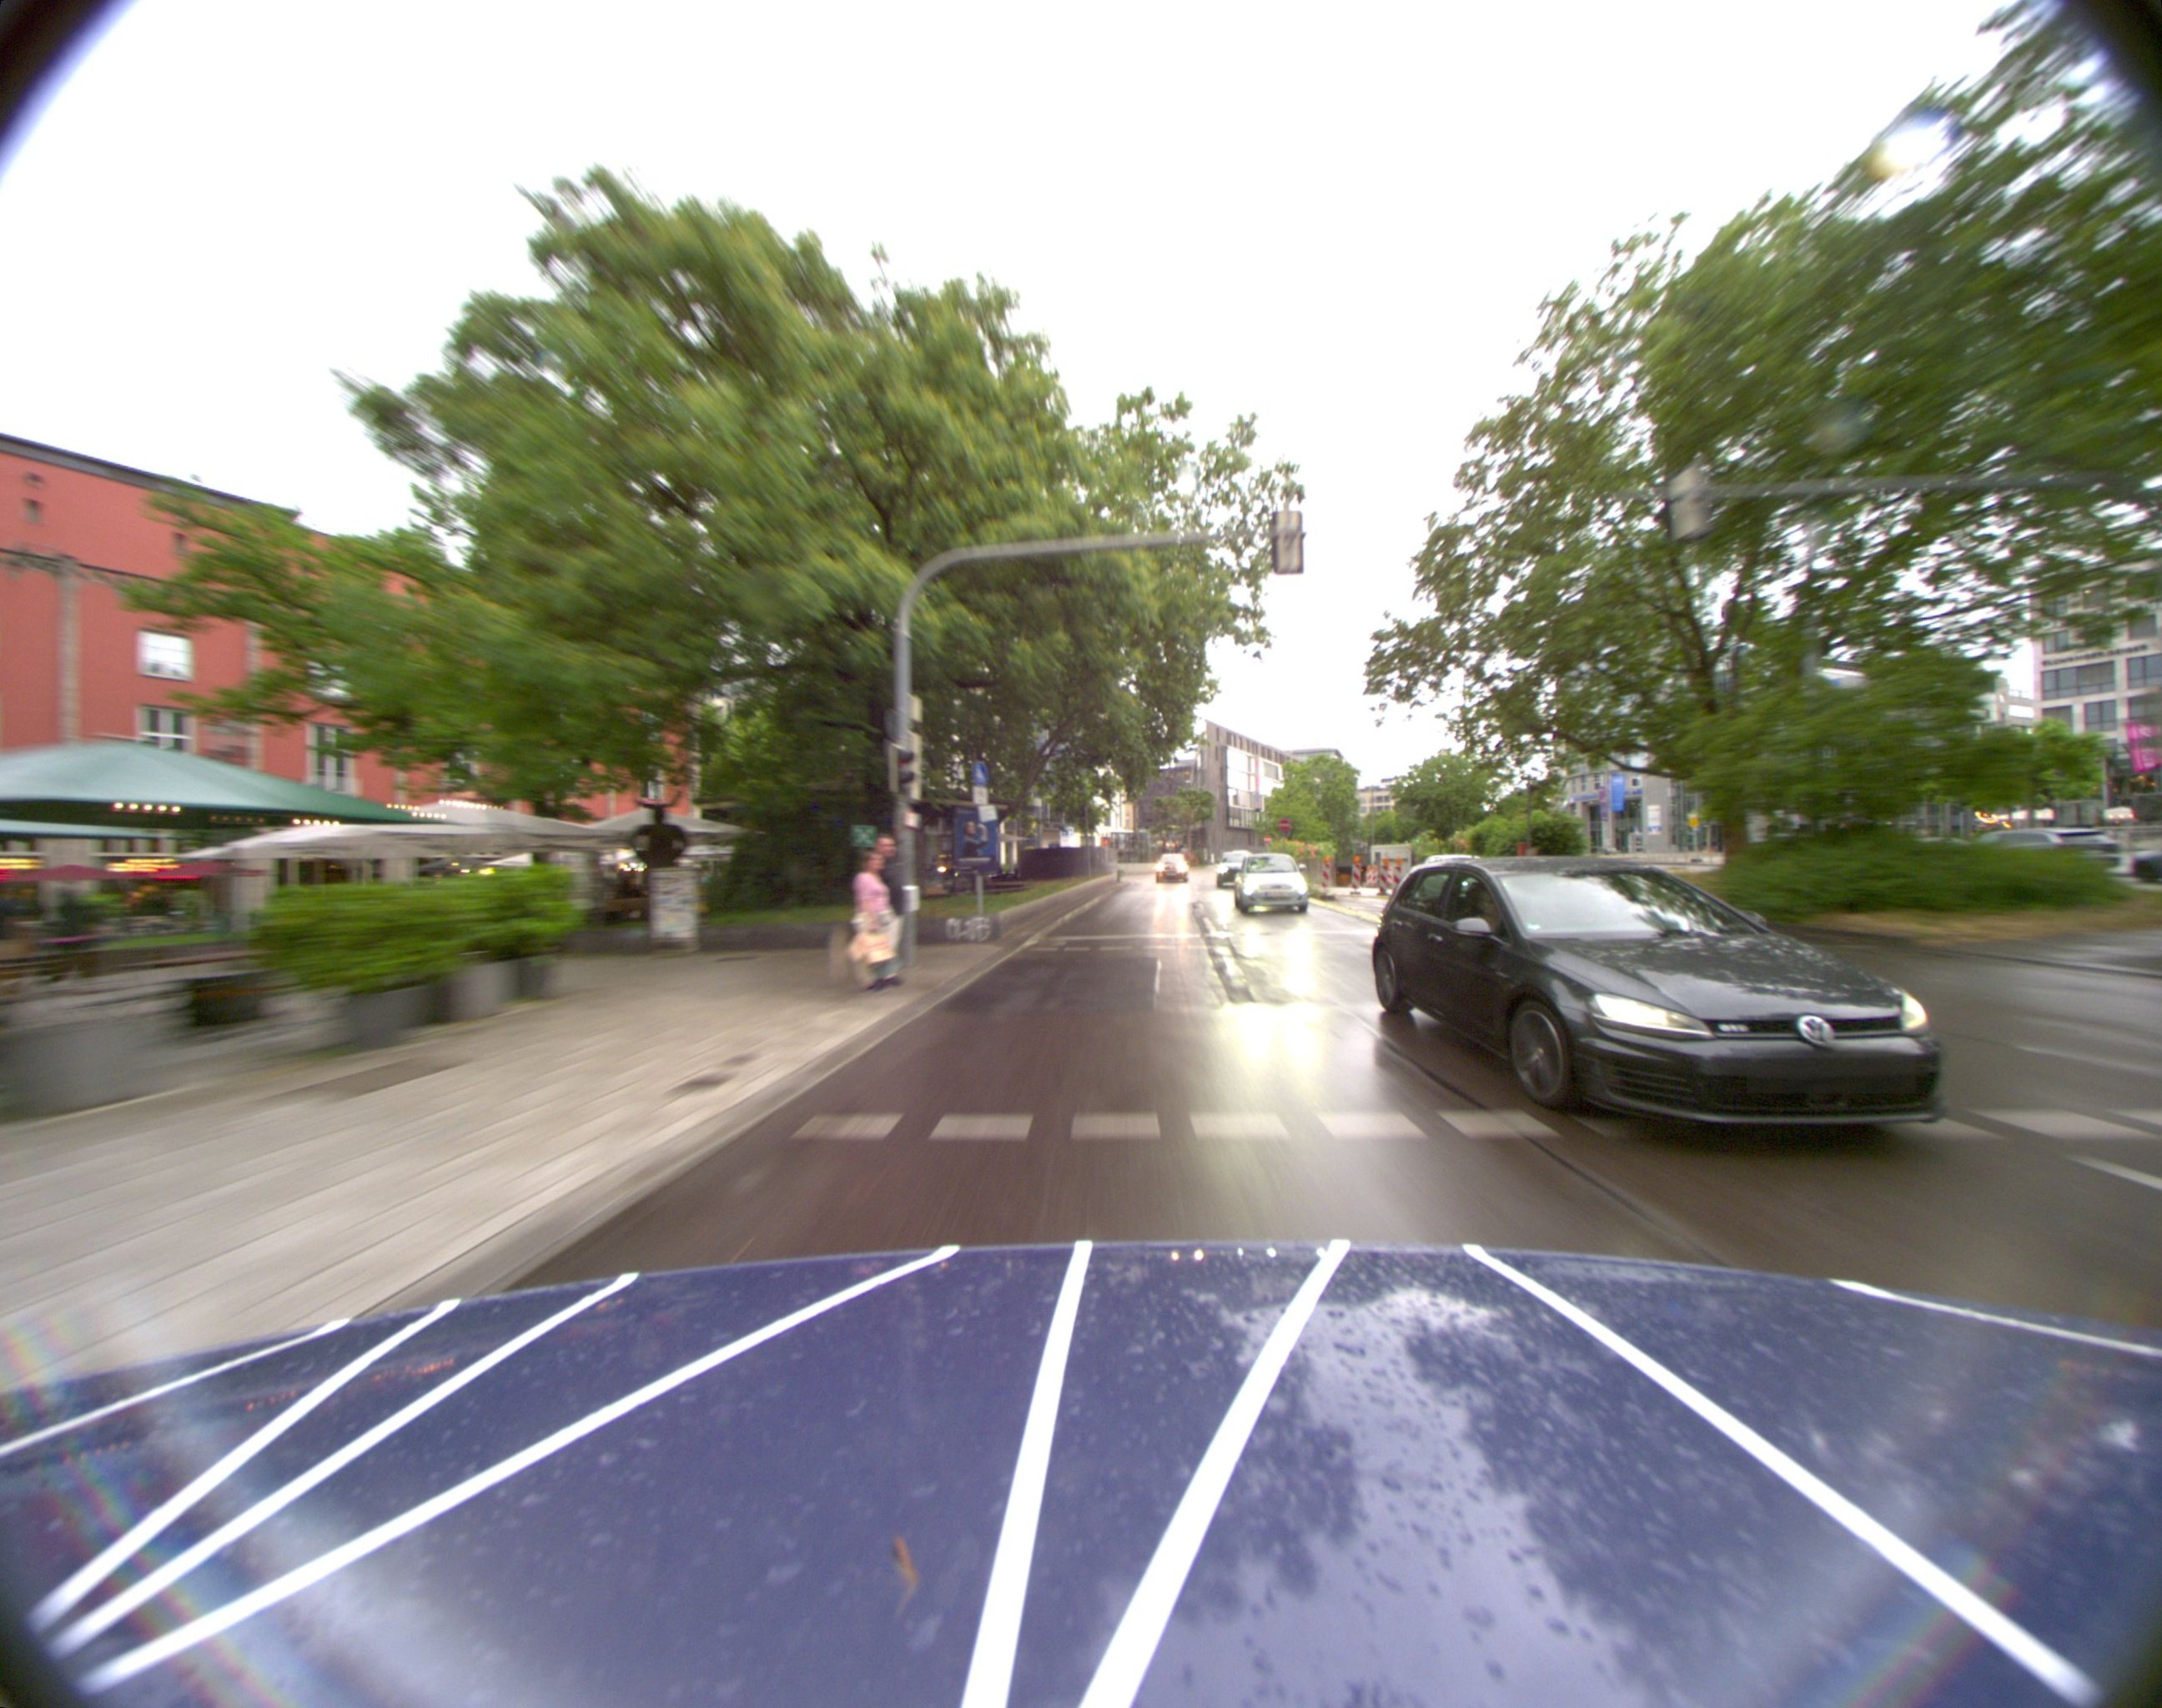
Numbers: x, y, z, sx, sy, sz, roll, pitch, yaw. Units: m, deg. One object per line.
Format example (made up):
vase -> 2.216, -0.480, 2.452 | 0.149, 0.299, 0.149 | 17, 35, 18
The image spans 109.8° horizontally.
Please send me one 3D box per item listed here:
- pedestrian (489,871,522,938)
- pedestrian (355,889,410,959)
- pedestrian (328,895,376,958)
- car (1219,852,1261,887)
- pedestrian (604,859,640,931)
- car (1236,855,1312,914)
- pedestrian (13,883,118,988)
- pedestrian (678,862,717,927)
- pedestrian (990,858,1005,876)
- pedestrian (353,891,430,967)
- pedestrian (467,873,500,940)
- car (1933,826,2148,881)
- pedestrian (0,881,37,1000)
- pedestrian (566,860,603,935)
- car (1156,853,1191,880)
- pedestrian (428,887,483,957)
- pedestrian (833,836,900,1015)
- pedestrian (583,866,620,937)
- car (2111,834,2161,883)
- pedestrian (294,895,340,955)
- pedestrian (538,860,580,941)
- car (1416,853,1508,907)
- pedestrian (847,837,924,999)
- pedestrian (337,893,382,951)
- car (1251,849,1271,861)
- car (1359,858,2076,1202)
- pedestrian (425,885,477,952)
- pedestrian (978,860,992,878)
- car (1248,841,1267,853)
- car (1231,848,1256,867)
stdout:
pedestrian -> -14.961, 1.301, 19.743 | 0.498, 1.671, 0.548 | -2, 1, 44
pedestrian -> -13.910, 1.374, 15.129 | 0.717, 1.319, 0.643 | -2, 1, 38
pedestrian -> -15.165, 1.497, 15.806 | 0.632, 1.233, 0.577 | -2, 1, 38
car -> 7.042, 0.644, 33.784 | 1.715, 1.433, 3.497 | 0, 0, 11
pedestrian -> -10.987, 0.971, 18.193 | 0.498, 1.671, 0.548 | -2, 1, 44
car -> 5.107, 0.756, 20.491 | 1.611, 1.433, 3.496 | 0, 0, 8
pedestrian -> -17.138, 1.361, 12.836 | 0.848, 1.671, 0.626 | -3, 1, 3
pedestrian -> -10.190, 1.071, 20.194 | 0.684, 1.671, 0.570 | -3, 1, -45
pedestrian -> -4.191, 0.656, 38.109 | 0.574, 0.867, 0.508 | -1, 1, -23
pedestrian -> -13.134, 1.399, 14.479 | 0.640, 1.319, 0.948 | -2, 1, 40
pedestrian -> -15.607, 1.360, 19.836 | 0.498, 1.671, 0.548 | -2, 1, 44
car -> 32.070, -0.065, 25.687 | 1.996, 1.642, 4.731 | -1, 1, 13
pedestrian -> -17.431, 1.394, 12.158 | 0.464, 1.878, 0.632 | -3, 1, 3
pedestrian -> -11.500, 0.997, 17.609 | 0.498, 1.671, 0.548 | -2, 1, 44
car -> 4.937, 0.634, 40.340 | 1.715, 1.274, 3.496 | -1, 1, 9
pedestrian -> -12.466, 1.339, 15.143 | 0.717, 1.319, 0.643 | -2, 1, 38
pedestrian -> -2.319, 0.730, 8.185 | 0.592, 1.824, 0.628 | -2, 2, -21
pedestrian -> -11.674, 1.136, 18.501 | 0.604, 1.671, 0.548 | -2, 1, 44
car -> 31.316, 0.146, 20.636 | 1.844, 1.373, 4.046 | -1, 1, 15
pedestrian -> -16.577, 1.518, 16.486 | 0.632, 1.233, 0.577 | -2, 1, 37
pedestrian -> -12.239, 1.068, 17.804 | 0.498, 1.825, 0.643 | -2, 1, 44
car -> 13.050, 0.841, 26.295 | 1.780, 1.587, 4.002 | -1, 1, 10
pedestrian -> -2.261, 0.717, 8.833 | 0.633, 1.824, 0.563 | -1, 2, 10
pedestrian -> -16.062, 1.498, 16.921 | 0.632, 1.233, 0.577 | -2, 1, 37
car -> 27.321, 0.084, 115.353 | 1.995, 1.734, 3.916 | -2, 0, 28
car -> 3.549, 0.799, 5.417 | 1.788, 1.444, 4.124 | -2, 0, 3
pedestrian -> -13.231, 1.343, 15.958 | 0.717, 1.319, 0.643 | -2, 1, 38
pedestrian -> -4.790, 0.758, 37.798 | 0.574, 0.867, 0.508 | -1, 1, -23
car -> 25.122, -1.013, 108.153 | 1.995, 1.734, 3.916 | -2, 0, 24
car -> 15.545, 0.280, 72.756 | 1.997, 1.734, 3.912 | -2, 0, 7
